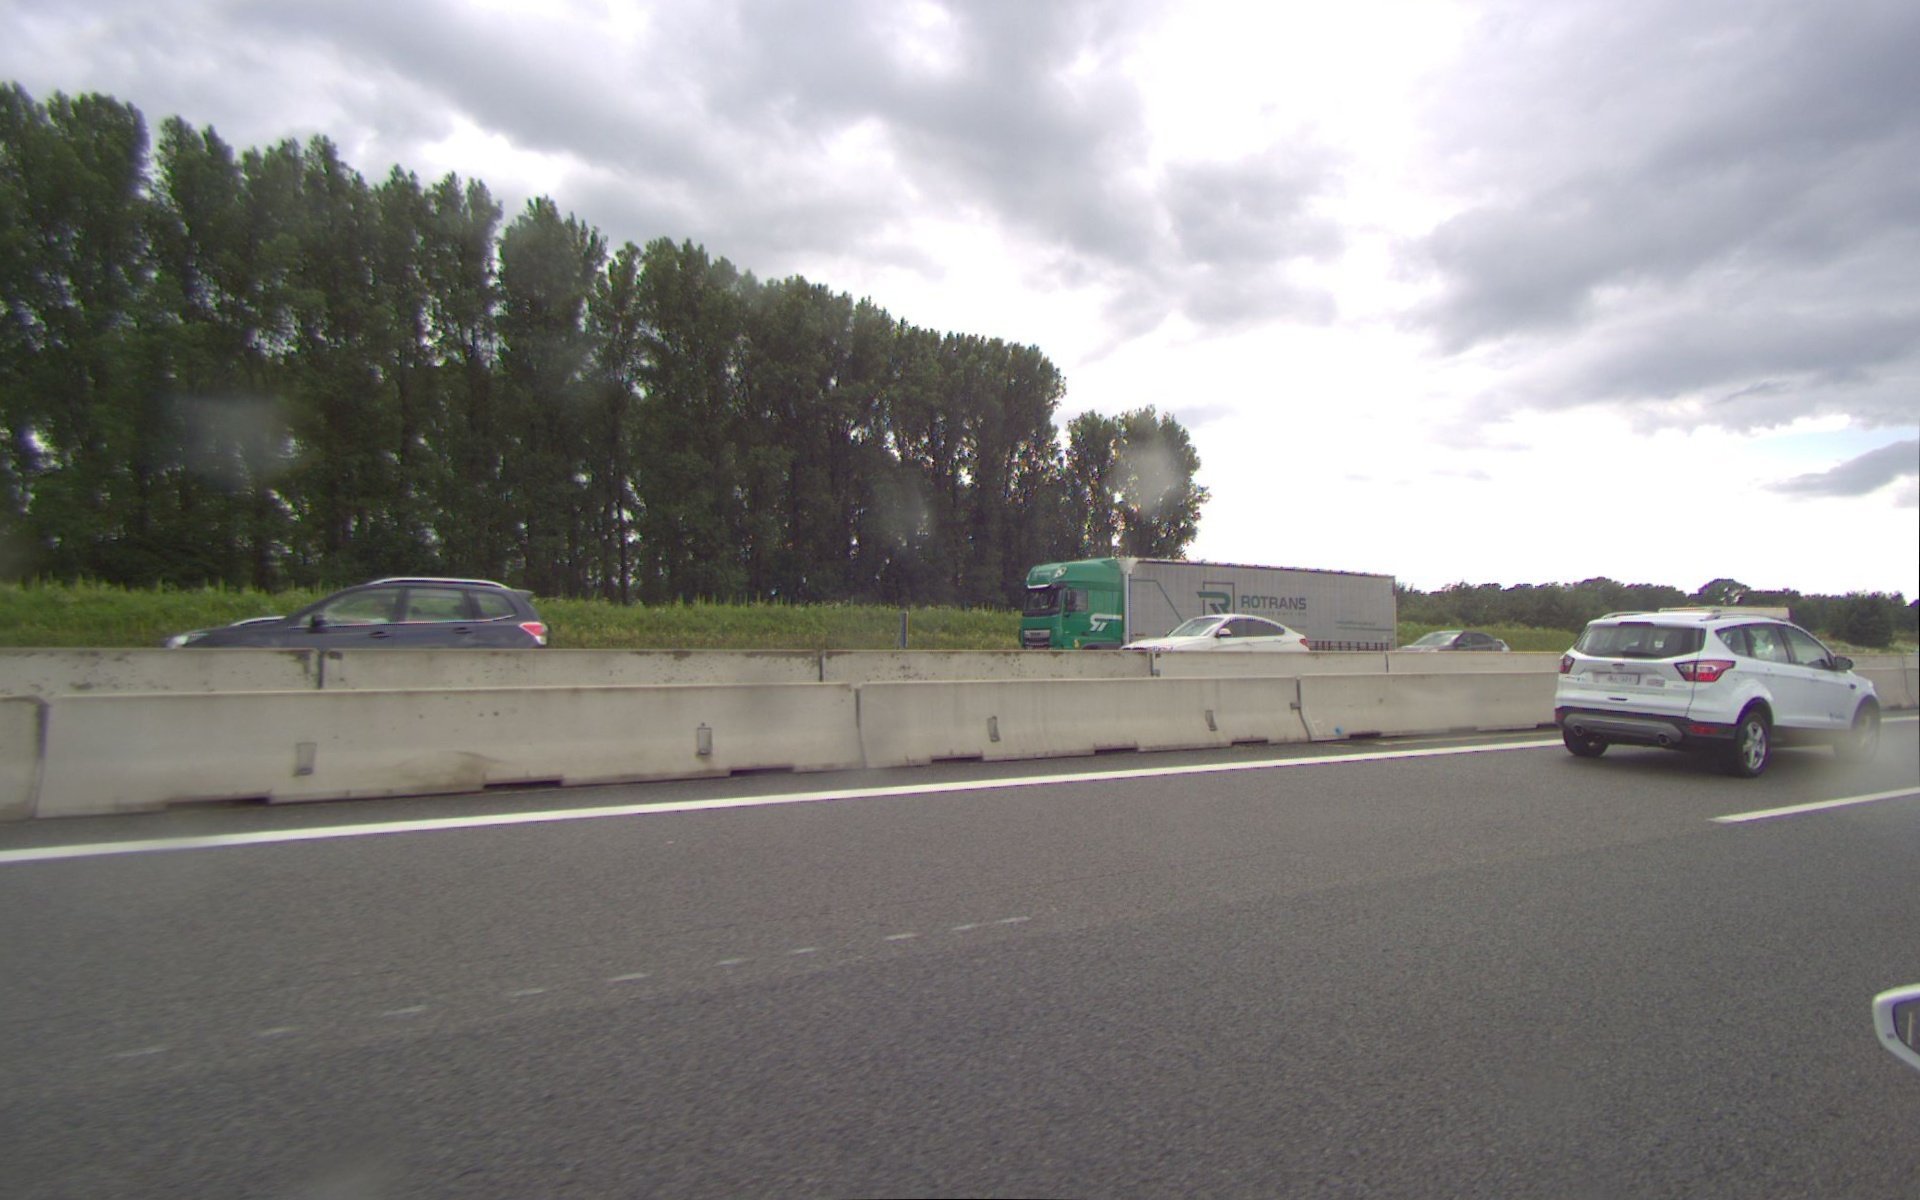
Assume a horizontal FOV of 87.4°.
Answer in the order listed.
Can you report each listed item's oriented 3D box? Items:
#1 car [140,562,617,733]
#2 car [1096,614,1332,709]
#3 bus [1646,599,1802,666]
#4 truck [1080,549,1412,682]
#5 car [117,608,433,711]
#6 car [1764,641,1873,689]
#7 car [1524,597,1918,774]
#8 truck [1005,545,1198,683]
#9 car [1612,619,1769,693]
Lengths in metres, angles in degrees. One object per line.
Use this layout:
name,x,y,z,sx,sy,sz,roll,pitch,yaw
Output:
car,-7.441,0.604,13.436,5.123,1.923,1.985,2,-1,-29
car,5.593,1.282,21.974,5.015,1.877,1.985,1,-1,-29
bus,41.361,1.768,54.281,9.837,3.376,2.820,2,-1,-28
truck,11.077,0.683,37.726,13.780,4.370,3.135,2,-1,-29
car,-13.482,1.140,20.248,5.015,1.877,1.985,1,-1,-29
car,35.837,2.682,41.927,4.581,1.852,1.985,2,-1,-29
car,8.881,0.886,11.648,4.790,1.712,1.808,1,-1,-28
truck,4.830,0.522,34.330,5.838,4.338,3.106,1,-1,-28
car,21.849,1.635,30.023,4.704,2.040,1.985,2,-1,-28
